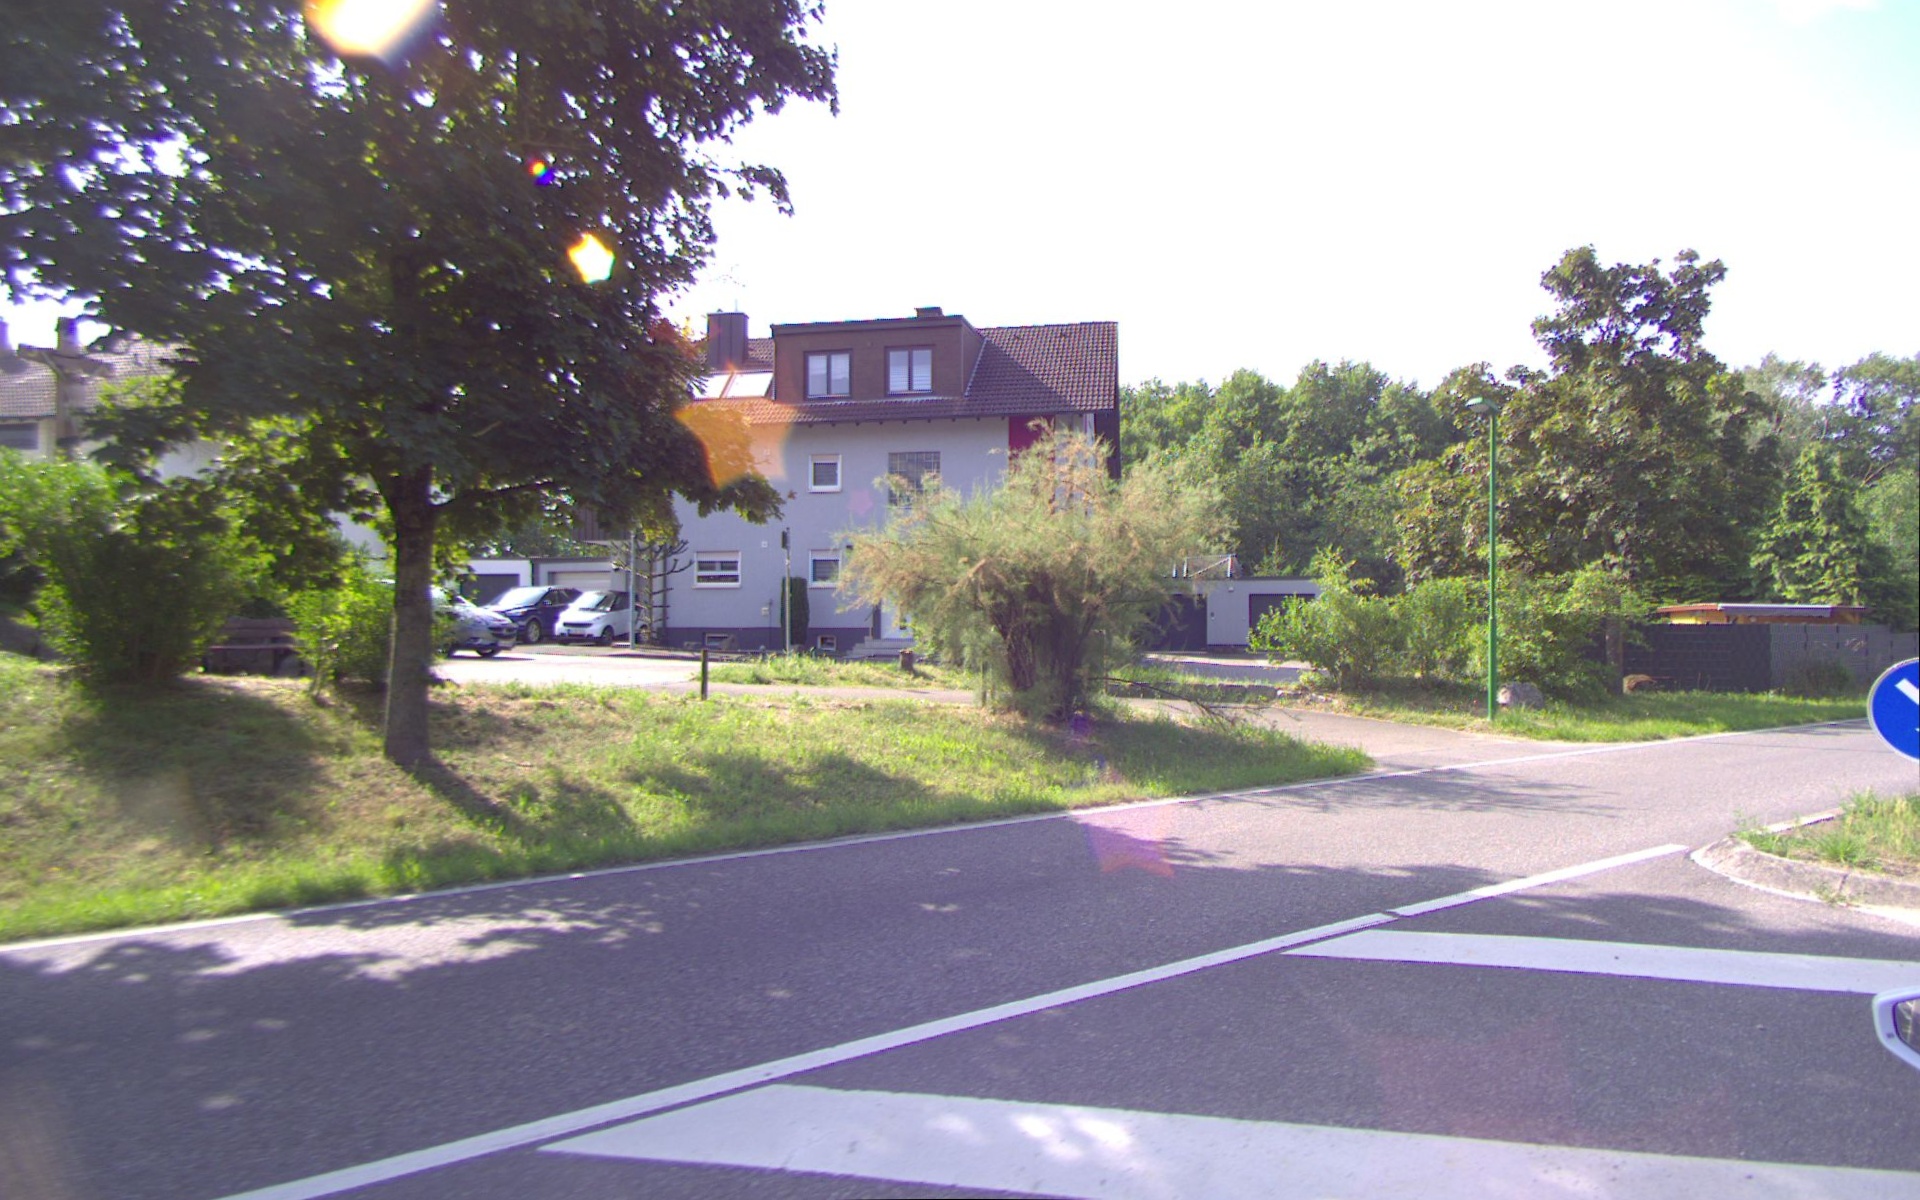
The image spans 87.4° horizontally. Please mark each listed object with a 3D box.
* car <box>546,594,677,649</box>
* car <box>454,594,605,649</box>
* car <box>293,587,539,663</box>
[{"bbox_3d":[-10.002,0.624,29.129,1.713,1.482,3.773,0,-1,16],"label":"car"},{"bbox_3d":[-12.512,0.635,29.502,1.831,1.467,4.140,0,-1,16],"label":"car"},{"bbox_3d":[-11.148,0.502,20.733,4.148,1.482,1.870,0,-1,8],"label":"car"}]
